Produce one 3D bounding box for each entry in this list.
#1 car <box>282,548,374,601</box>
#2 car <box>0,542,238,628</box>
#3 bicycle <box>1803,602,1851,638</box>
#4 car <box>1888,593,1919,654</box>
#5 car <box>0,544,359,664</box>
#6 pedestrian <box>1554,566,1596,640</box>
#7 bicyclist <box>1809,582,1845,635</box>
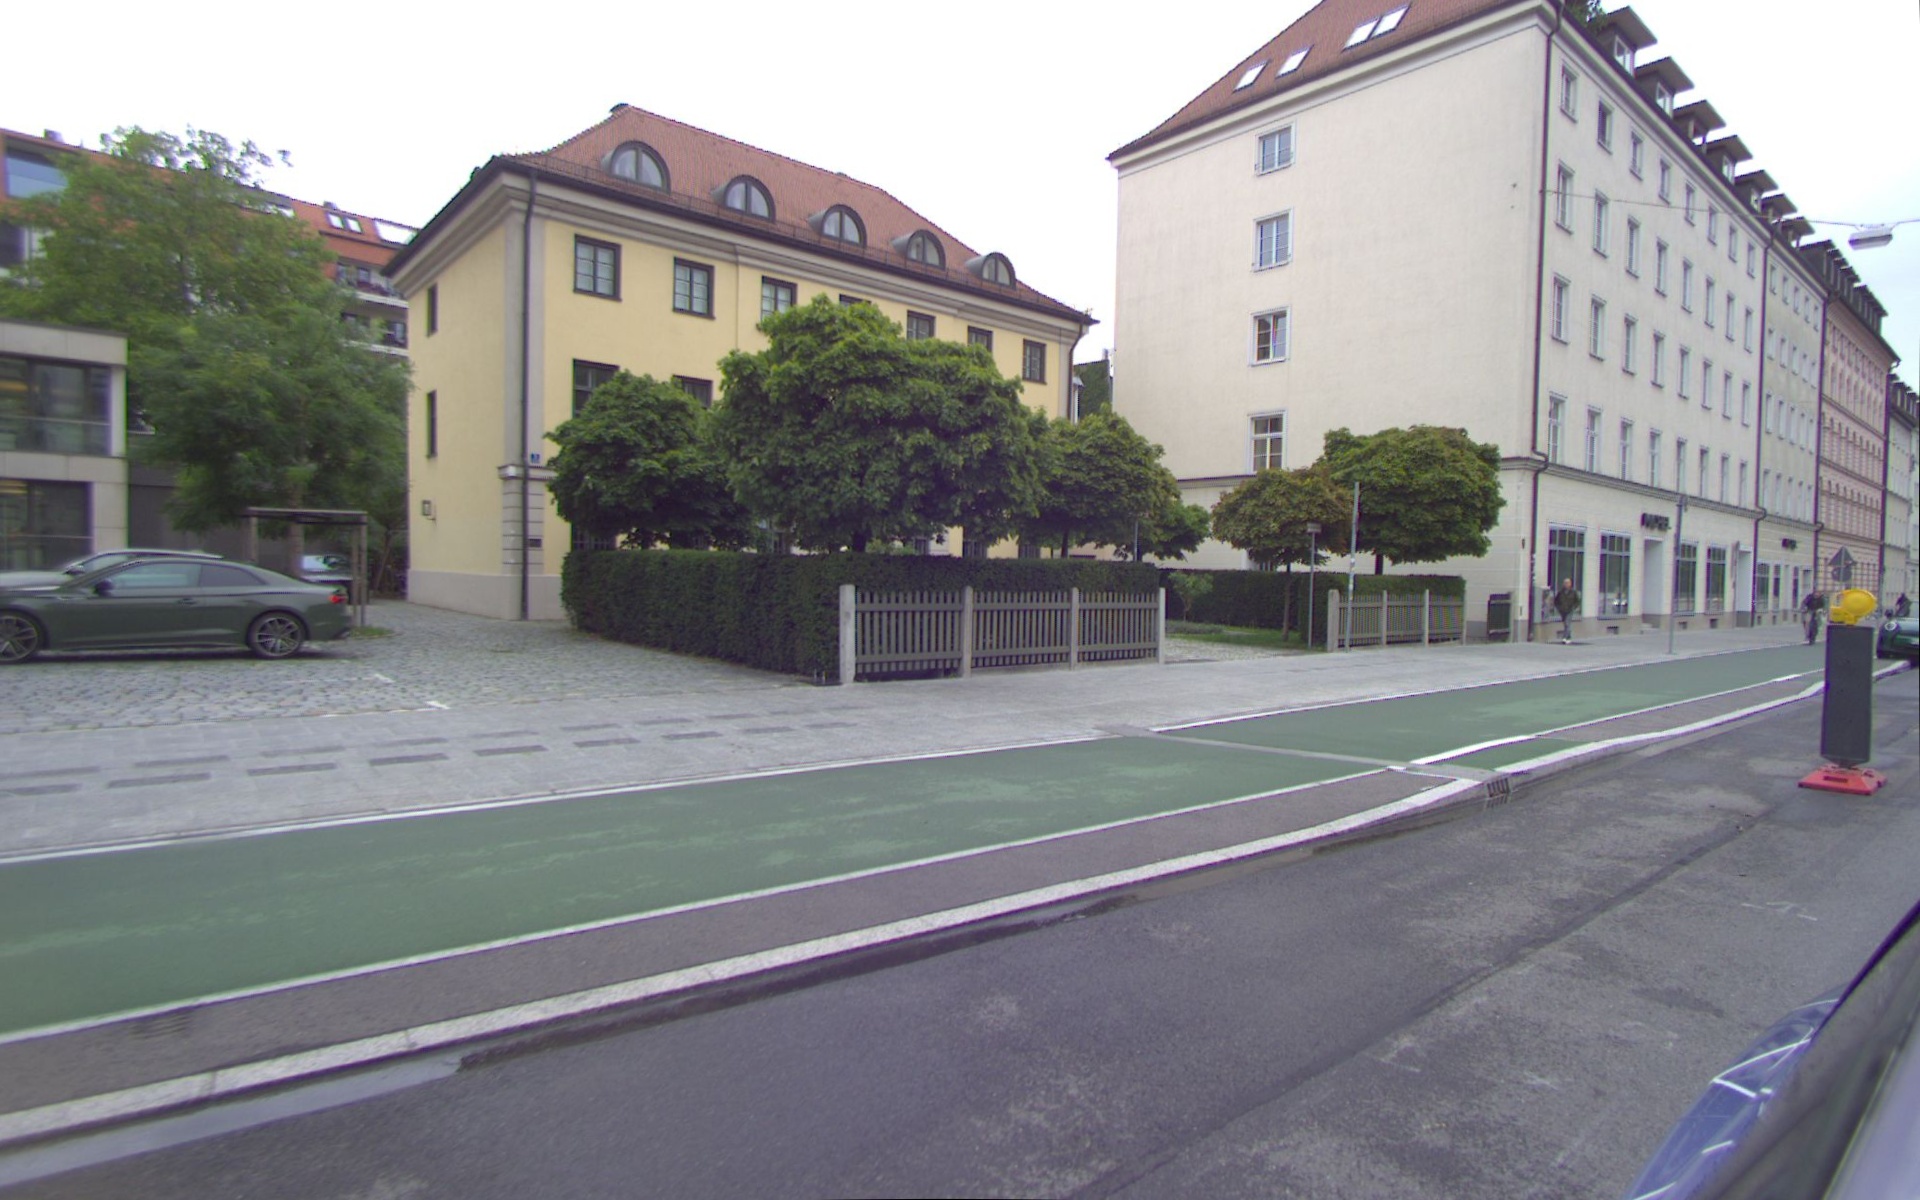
[{"bbox_3d":[-18.839,-0.771,30.078,1.830,1.444,4.323,0,2,-39],"label":"car"},{"bbox_3d":[-15.569,-0.284,18.441,3.809,1.444,1.694,0,2,-41],"label":"car"},{"bbox_3d":[26.541,0.581,30.963,2.486,1.045,0.750,0,0,-41],"label":"bicycle"},{"bbox_3d":[22.975,0.527,23.441,3.930,1.337,1.738,0,1,-41],"label":"car"},{"bbox_3d":[-10.963,0.015,13.779,4.549,1.444,1.861,0,2,-41],"label":"car"},{"bbox_3d":[16.246,0.063,26.723,0.811,1.897,0.655,0,3,-40],"label":"pedestrian"},{"bbox_3d":[26.502,0.253,30.926,0.843,1.572,0.723,0,0,-41],"label":"bicyclist"}]
